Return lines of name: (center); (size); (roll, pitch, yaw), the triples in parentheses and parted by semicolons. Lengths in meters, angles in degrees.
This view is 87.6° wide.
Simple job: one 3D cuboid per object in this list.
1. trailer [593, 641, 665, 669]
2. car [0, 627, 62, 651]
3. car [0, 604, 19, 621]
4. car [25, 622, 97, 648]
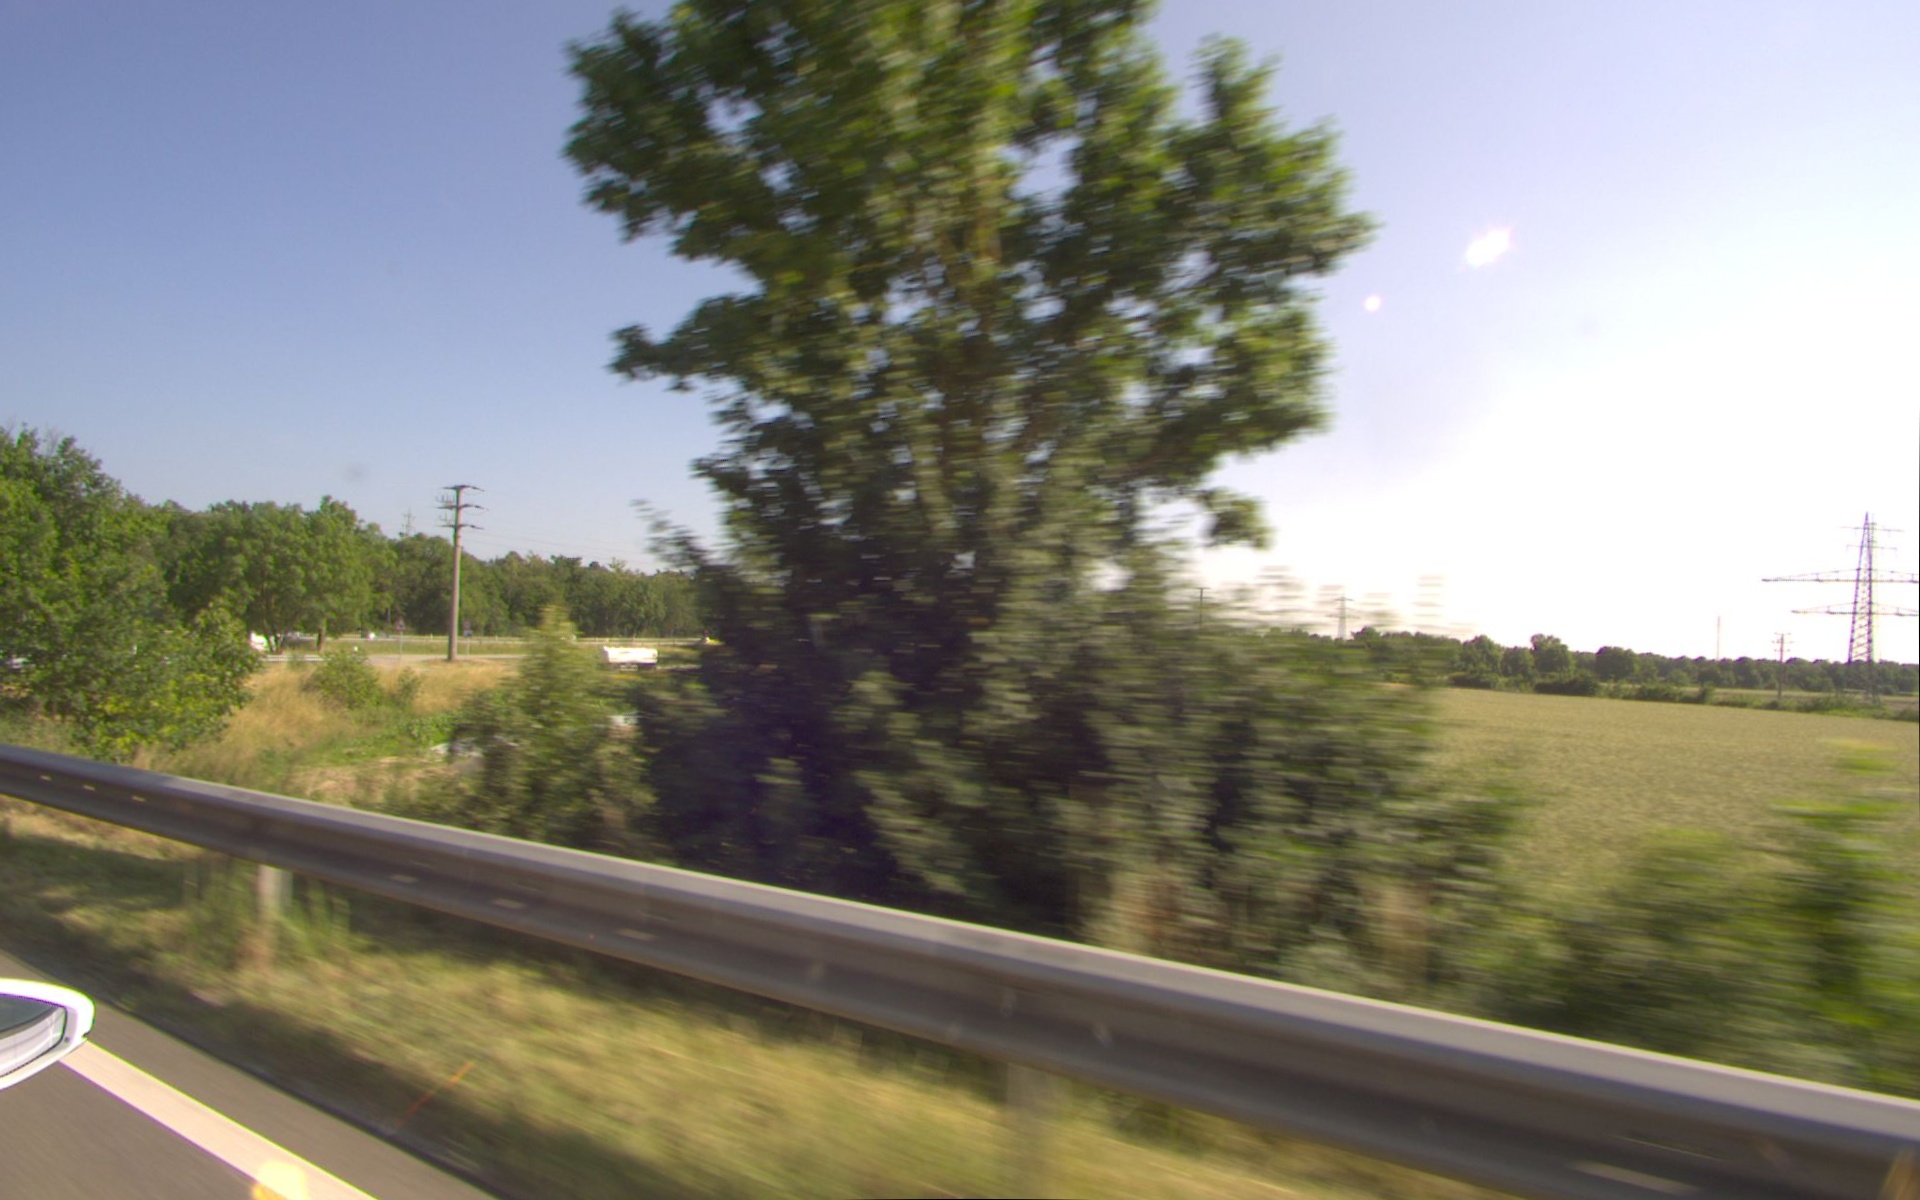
trailer: (-36.007, 6.028, 108.989); (6.740, 2.703, 2.867); (5, -3, -42)
car: (-73.112, 3.046, 78.186); (3.938, 1.639, 1.886); (5, -4, -23)
car: (-93.087, 1.175, 95.255); (1.968, 1.572, 4.881); (0, -1, 26)
car: (-75.332, 2.984, 84.000); (3.932, 1.899, 1.888); (4, -4, -18)
